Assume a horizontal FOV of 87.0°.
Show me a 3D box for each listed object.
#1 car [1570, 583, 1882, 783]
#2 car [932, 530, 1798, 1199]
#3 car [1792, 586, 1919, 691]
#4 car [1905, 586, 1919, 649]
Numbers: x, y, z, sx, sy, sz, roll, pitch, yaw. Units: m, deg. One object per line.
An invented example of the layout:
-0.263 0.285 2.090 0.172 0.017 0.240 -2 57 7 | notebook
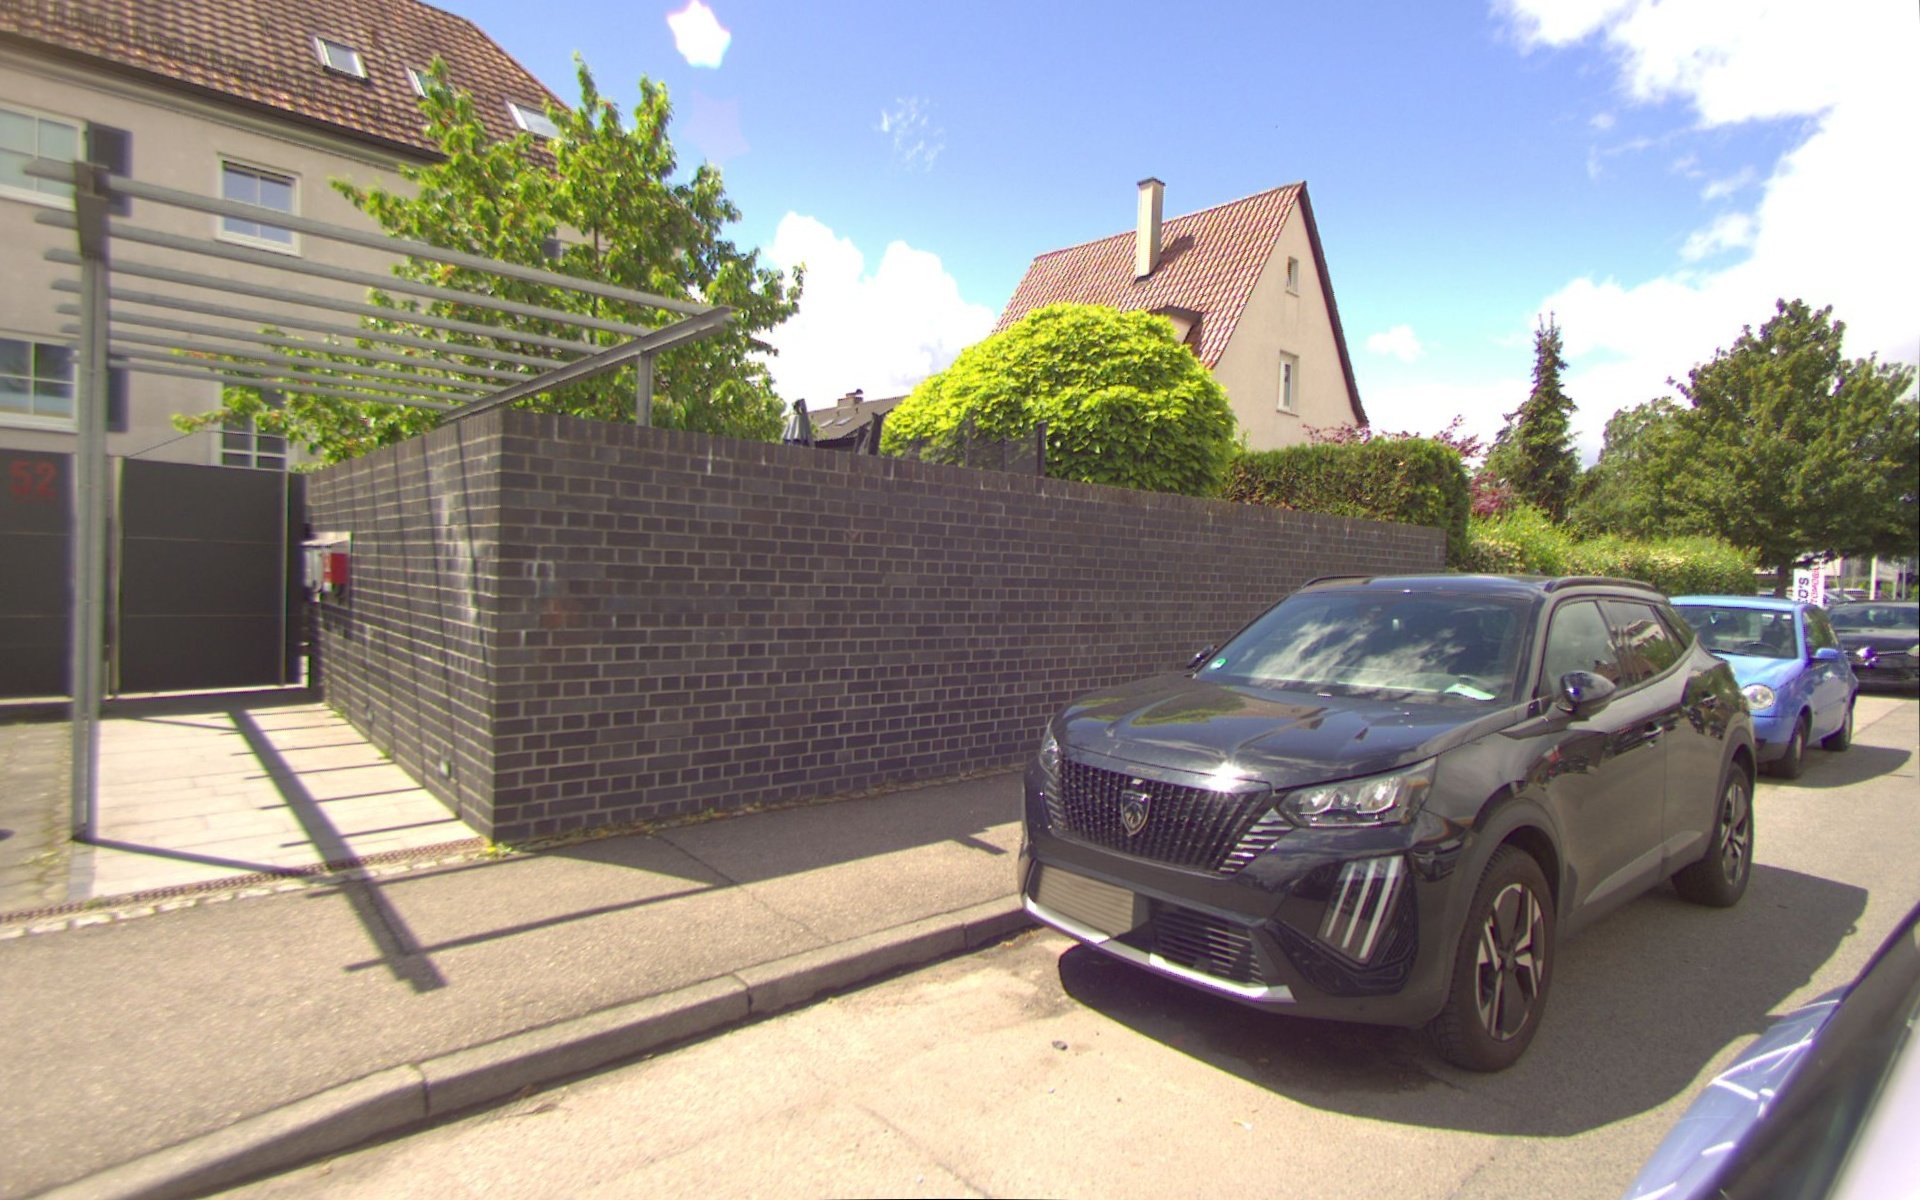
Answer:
7.138 0.603 9.326 3.486 1.449 1.575 0 2 -41 | car
2.077 0.581 4.434 4.241 1.576 1.788 -1 2 -41 | car
14.732 0.530 16.036 3.706 1.462 1.788 -1 2 -41 | car
25.944 0.438 26.219 3.813 1.583 1.787 -1 2 -42 | car
